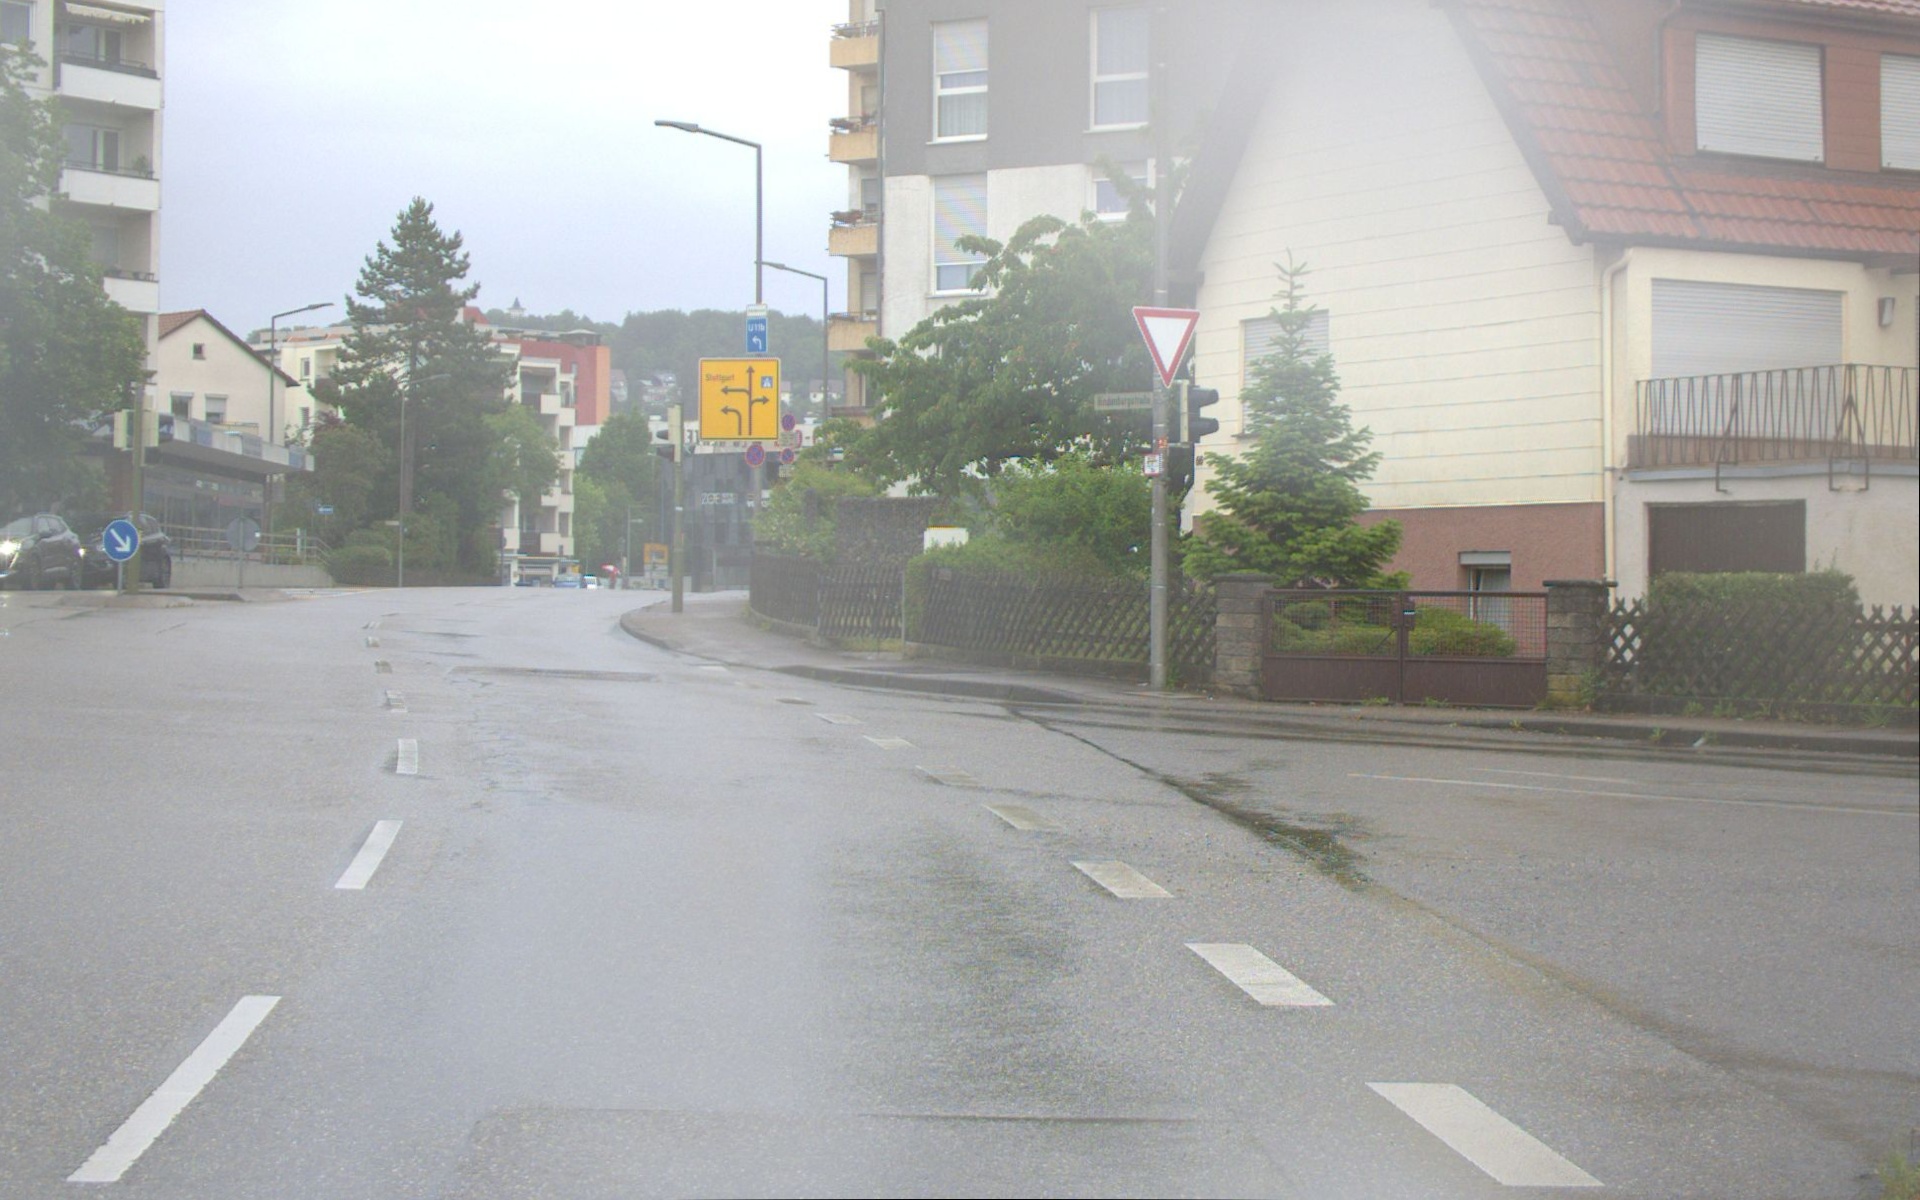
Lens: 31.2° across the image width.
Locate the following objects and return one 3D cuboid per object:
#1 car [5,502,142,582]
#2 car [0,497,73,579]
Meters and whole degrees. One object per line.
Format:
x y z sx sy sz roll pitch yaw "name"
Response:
-18.334 -1.183 71.264 1.879 1.592 4.185 1 1 -2 "car"
-18.402 -1.185 65.763 1.967 1.507 4.000 1 1 -2 "car"
